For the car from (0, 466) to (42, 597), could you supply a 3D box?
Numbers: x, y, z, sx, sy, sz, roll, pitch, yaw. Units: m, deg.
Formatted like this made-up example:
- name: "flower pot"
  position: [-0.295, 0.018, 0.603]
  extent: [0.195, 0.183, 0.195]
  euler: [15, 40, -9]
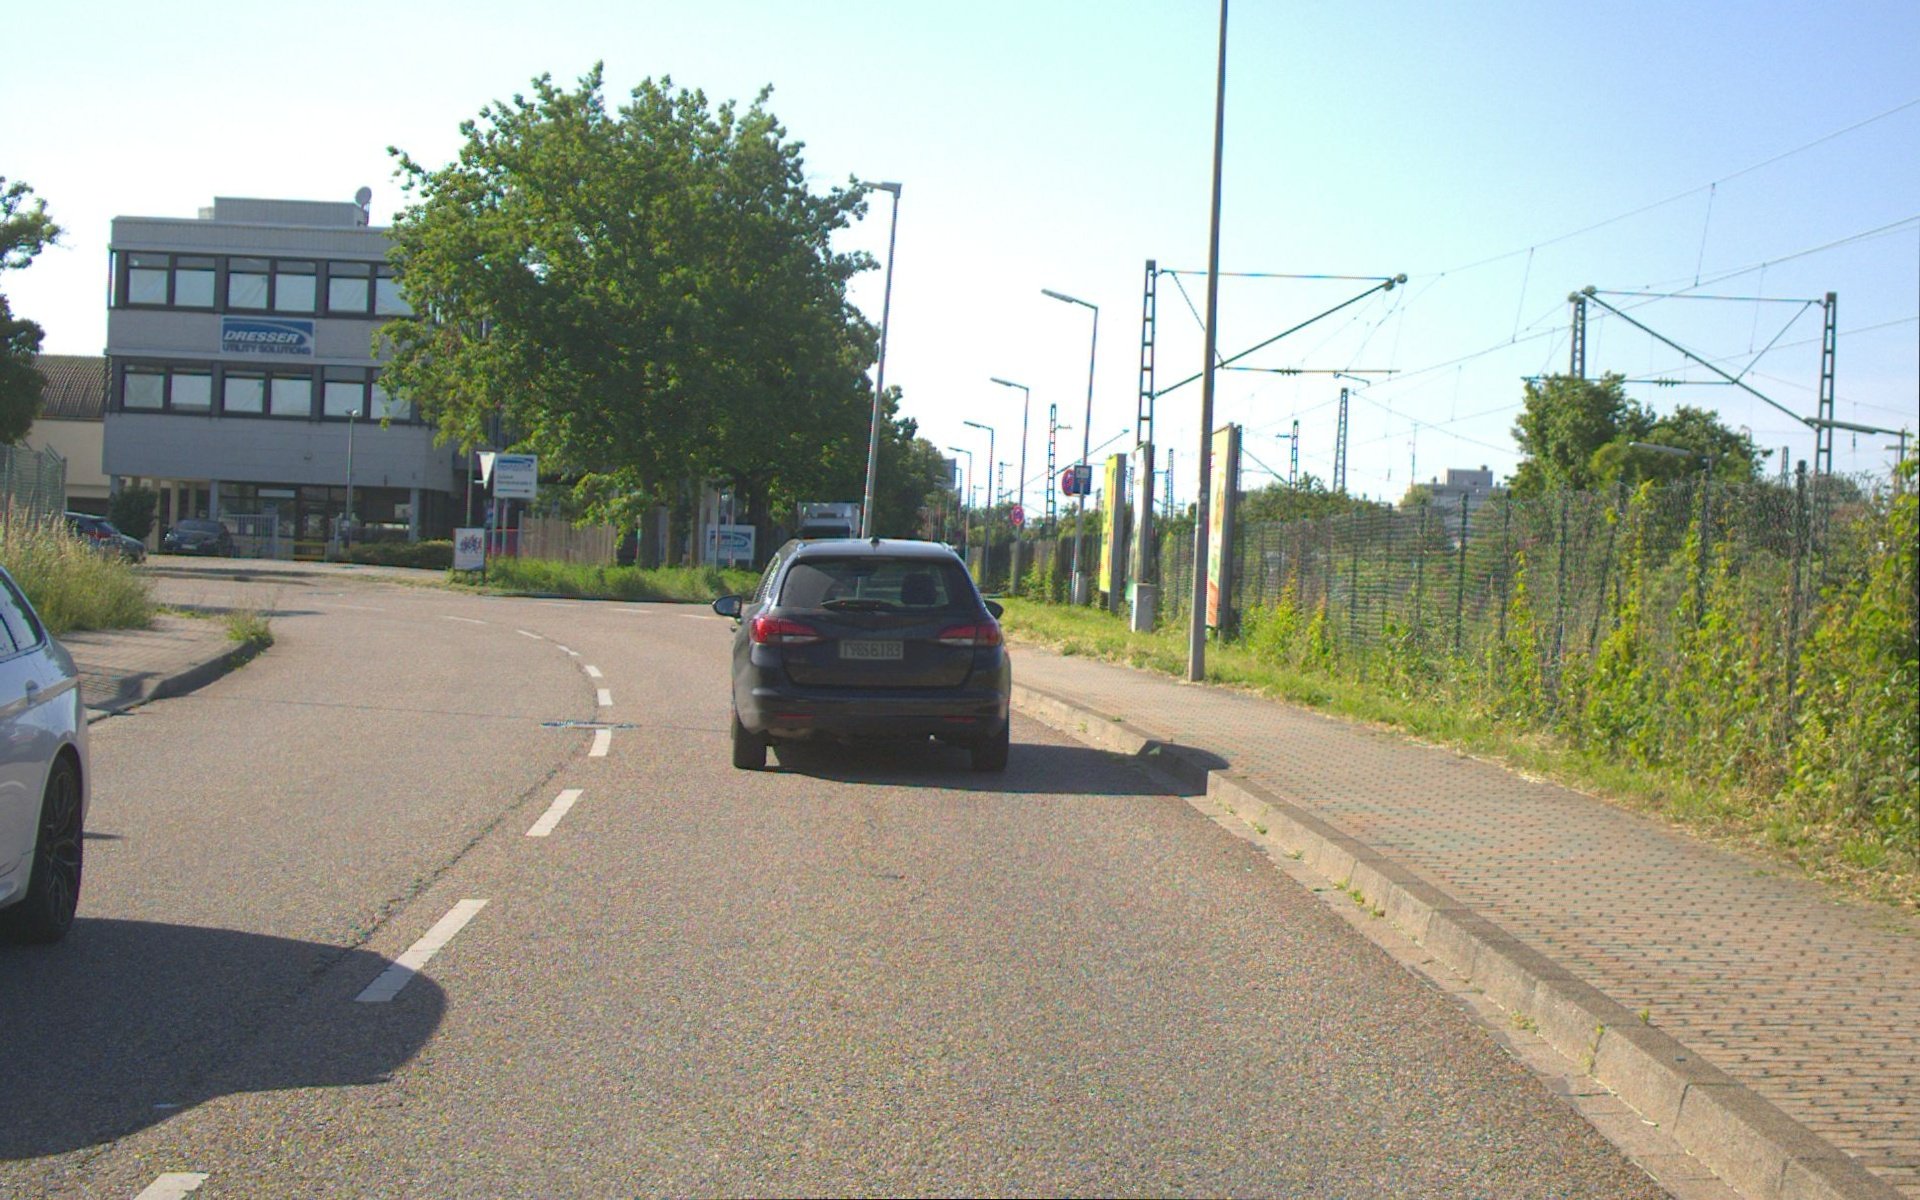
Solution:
- name: "car"
  position: [-14.044, -0.951, 43.308]
  extent: [4.389, 1.643, 1.840]
  euler: [2, 1, -33]

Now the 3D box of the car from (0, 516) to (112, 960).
- name: "car"
  position: [-4.064, 0.462, 10.692]
  extent: [1.808, 1.473, 4.688]
  euler: [1, 1, -2]

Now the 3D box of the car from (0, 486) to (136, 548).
- name: "car"
  position: [-23.513, -2.128, 86.805]
  extent: [4.910, 1.421, 2.000]
  euler: [2, 1, -1]

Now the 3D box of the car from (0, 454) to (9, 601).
- name: "car"
  position: [-13.001, -0.913, 38.663]
  extent: [4.388, 1.643, 1.841]
  euler: [2, 1, -16]

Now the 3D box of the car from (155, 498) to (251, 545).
- name: "car"
  position: [-26.012, -2.727, 118.285]
  extent: [1.994, 1.479, 4.927]
  euler: [2, 2, 2]

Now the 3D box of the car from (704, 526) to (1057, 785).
- name: "car"
  position: [-0.645, 0.290, 23.024]
  extent: [1.942, 1.483, 4.567]
  euler: [1, 2, -6]

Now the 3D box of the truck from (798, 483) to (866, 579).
- name: "truck"
  position: [-5.692, -3.014, 151.306]
  extent: [2.613, 3.872, 13.534]
  euler: [3, 1, -3]

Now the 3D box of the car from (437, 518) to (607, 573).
- name: "car"
  position: [-13.604, -1.707, 106.937]
  extent: [4.911, 1.479, 2.000]
  euler: [3, 2, 4]
